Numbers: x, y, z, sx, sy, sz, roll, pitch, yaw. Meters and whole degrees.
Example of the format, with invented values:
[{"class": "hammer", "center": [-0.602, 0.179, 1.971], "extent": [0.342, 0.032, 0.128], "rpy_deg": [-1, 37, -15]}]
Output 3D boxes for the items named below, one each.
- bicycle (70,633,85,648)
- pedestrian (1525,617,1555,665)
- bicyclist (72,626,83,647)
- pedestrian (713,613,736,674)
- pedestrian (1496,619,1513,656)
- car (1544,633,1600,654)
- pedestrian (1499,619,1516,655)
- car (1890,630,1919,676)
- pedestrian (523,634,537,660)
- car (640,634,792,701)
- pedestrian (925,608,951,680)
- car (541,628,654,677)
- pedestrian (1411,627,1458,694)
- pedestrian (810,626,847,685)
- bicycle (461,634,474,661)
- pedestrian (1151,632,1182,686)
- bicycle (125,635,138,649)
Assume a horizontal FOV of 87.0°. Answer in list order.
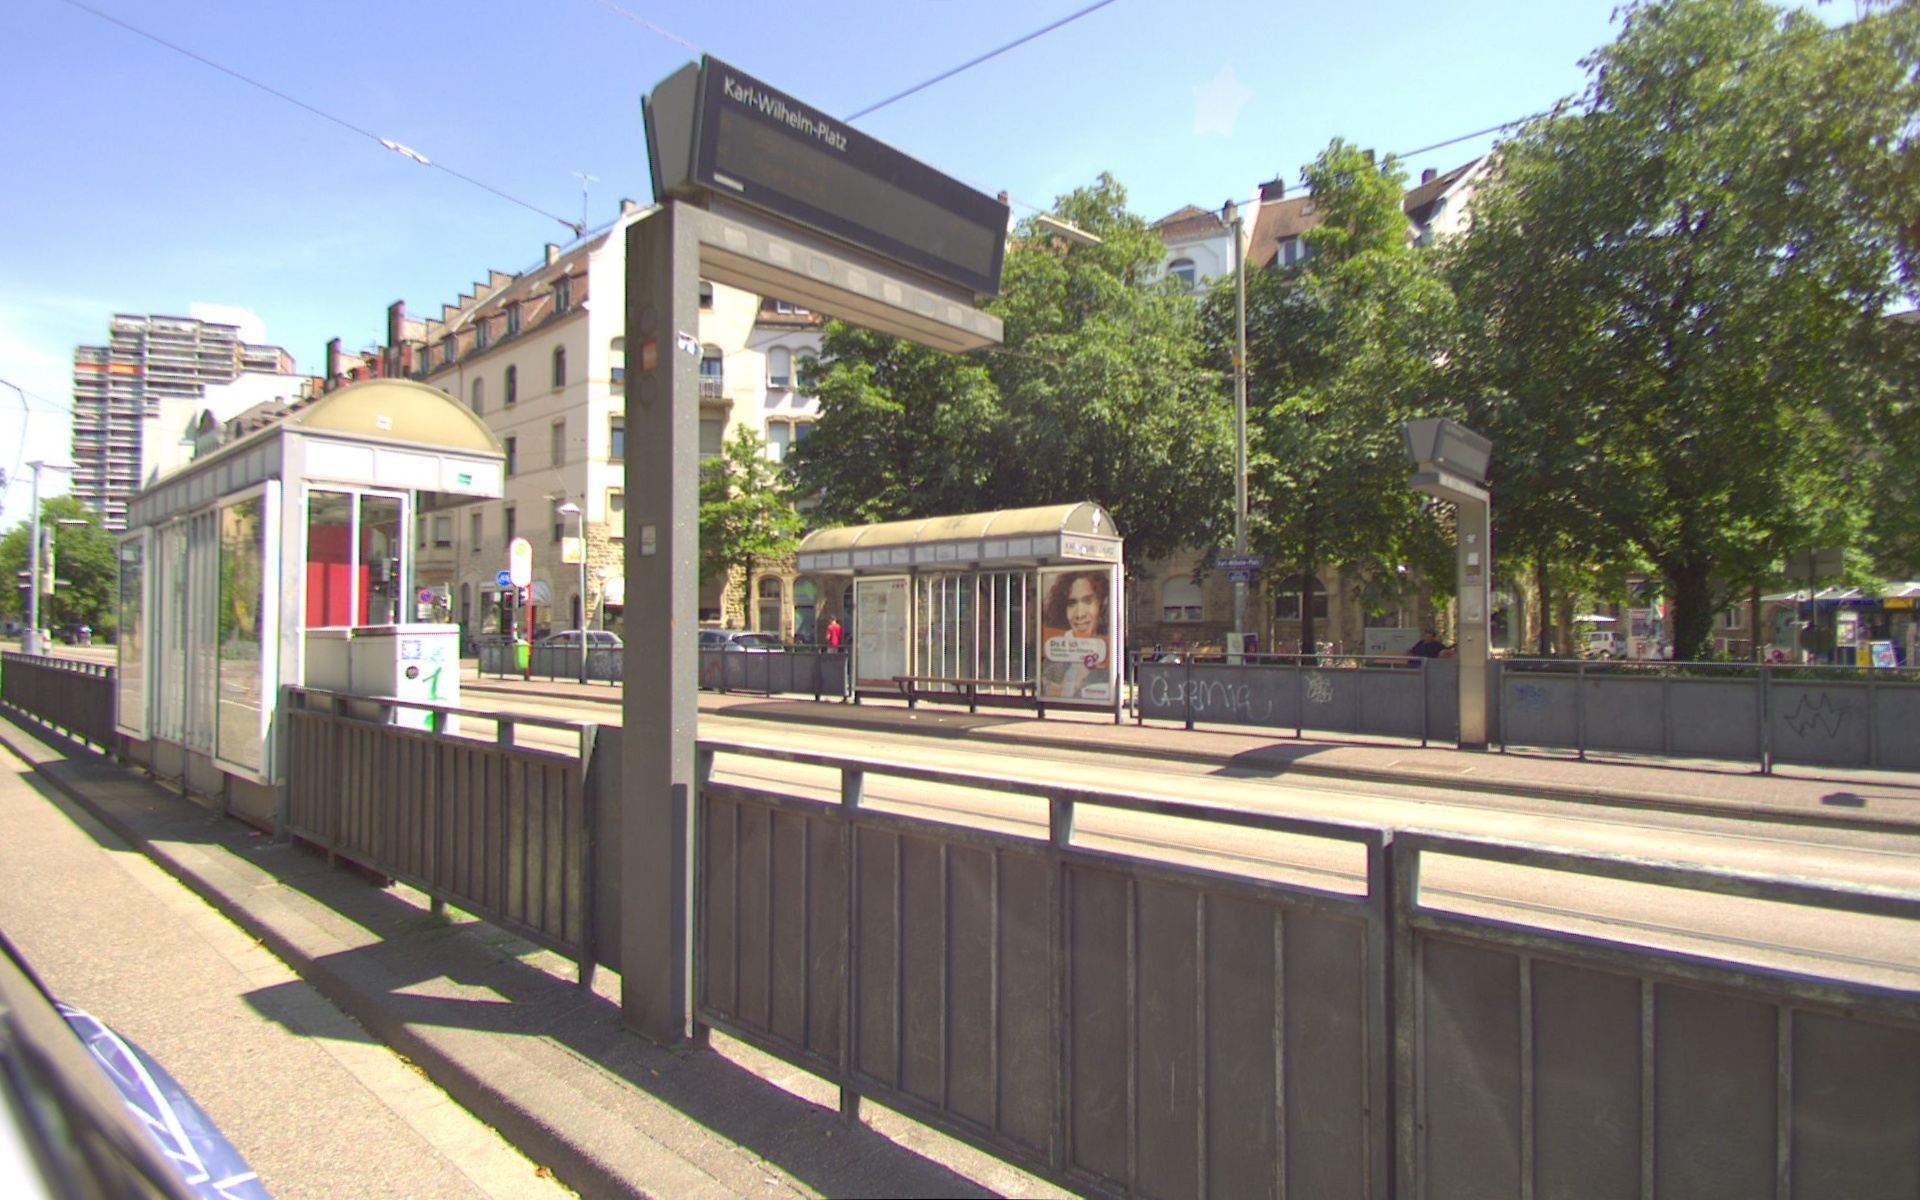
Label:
[{"class": "bicycle", "center": [-68.534, 3.152, 78.580], "extent": [1.977, 1.166, 0.621], "rpy_deg": [-2, -2, 42]}, {"class": "pedestrian", "center": [21.728, 1.518, 37.929], "extent": [0.606, 1.764, 0.719], "rpy_deg": [0, -1, -25]}, {"class": "bicyclist", "center": [-68.458, 2.806, 78.492], "extent": [0.585, 1.586, 0.602], "rpy_deg": [-1, -2, 41]}, {"class": "pedestrian", "center": [-7.185, 1.318, 30.838], "extent": [0.494, 1.836, 0.505], "rpy_deg": [-1, -2, 43]}, {"class": "pedestrian", "center": [24.222, 1.646, 45.011], "extent": [0.526, 1.635, 0.491], "rpy_deg": [-1, -2, 41]}, {"class": "car", "center": [26.481, 1.886, 43.834], "extent": [1.899, 0.872, 0.856], "rpy_deg": [0, -1, 17]}, {"class": "pedestrian", "center": [24.591, 1.652, 45.439], "extent": [0.560, 1.635, 0.507], "rpy_deg": [-1, -2, 41]}, {"class": "car", "center": [32.148, 1.700, 32.848], "extent": [3.676, 1.453, 1.546], "rpy_deg": [0, -1, -24]}, {"class": "pedestrian", "center": [-19.464, 2.124, 45.810], "extent": [0.405, 1.157, 0.401], "rpy_deg": [-1, -1, 38]}, {"class": "car", "center": [-5.650, 1.486, 23.233], "extent": [3.716, 1.349, 1.525], "rpy_deg": [-1, -1, 40]}, {"class": "pedestrian", "center": [-0.589, 1.152, 26.966], "extent": [0.504, 1.893, 0.494], "rpy_deg": [1, -2, -44]}, {"class": "car", "center": [-12.205, 1.747, 34.275], "extent": [3.526, 1.587, 1.587], "rpy_deg": [0, -1, -17]}, {"class": "pedestrian", "center": [9.438, 1.194, 20.134], "extent": [0.637, 1.297, 0.618], "rpy_deg": [0, -1, 2]}, {"class": "pedestrian", "center": [-3.682, 1.530, 28.367], "extent": [0.772, 1.618, 0.673], "rpy_deg": [-1, -1, 38]}, {"class": "bicycle", "center": [-24.173, 2.324, 49.639], "extent": [0.447, 1.234, 2.086], "rpy_deg": [0, -1, -29]}, {"class": "pedestrian", "center": [4.955, 1.405, 24.345], "extent": [0.637, 1.265, 0.549], "rpy_deg": [0, -1, 2]}, {"class": "bicycle", "center": [-66.558, 3.377, 81.275], "extent": [2.046, 1.105, 0.487], "rpy_deg": [-2, -2, 42]}]
